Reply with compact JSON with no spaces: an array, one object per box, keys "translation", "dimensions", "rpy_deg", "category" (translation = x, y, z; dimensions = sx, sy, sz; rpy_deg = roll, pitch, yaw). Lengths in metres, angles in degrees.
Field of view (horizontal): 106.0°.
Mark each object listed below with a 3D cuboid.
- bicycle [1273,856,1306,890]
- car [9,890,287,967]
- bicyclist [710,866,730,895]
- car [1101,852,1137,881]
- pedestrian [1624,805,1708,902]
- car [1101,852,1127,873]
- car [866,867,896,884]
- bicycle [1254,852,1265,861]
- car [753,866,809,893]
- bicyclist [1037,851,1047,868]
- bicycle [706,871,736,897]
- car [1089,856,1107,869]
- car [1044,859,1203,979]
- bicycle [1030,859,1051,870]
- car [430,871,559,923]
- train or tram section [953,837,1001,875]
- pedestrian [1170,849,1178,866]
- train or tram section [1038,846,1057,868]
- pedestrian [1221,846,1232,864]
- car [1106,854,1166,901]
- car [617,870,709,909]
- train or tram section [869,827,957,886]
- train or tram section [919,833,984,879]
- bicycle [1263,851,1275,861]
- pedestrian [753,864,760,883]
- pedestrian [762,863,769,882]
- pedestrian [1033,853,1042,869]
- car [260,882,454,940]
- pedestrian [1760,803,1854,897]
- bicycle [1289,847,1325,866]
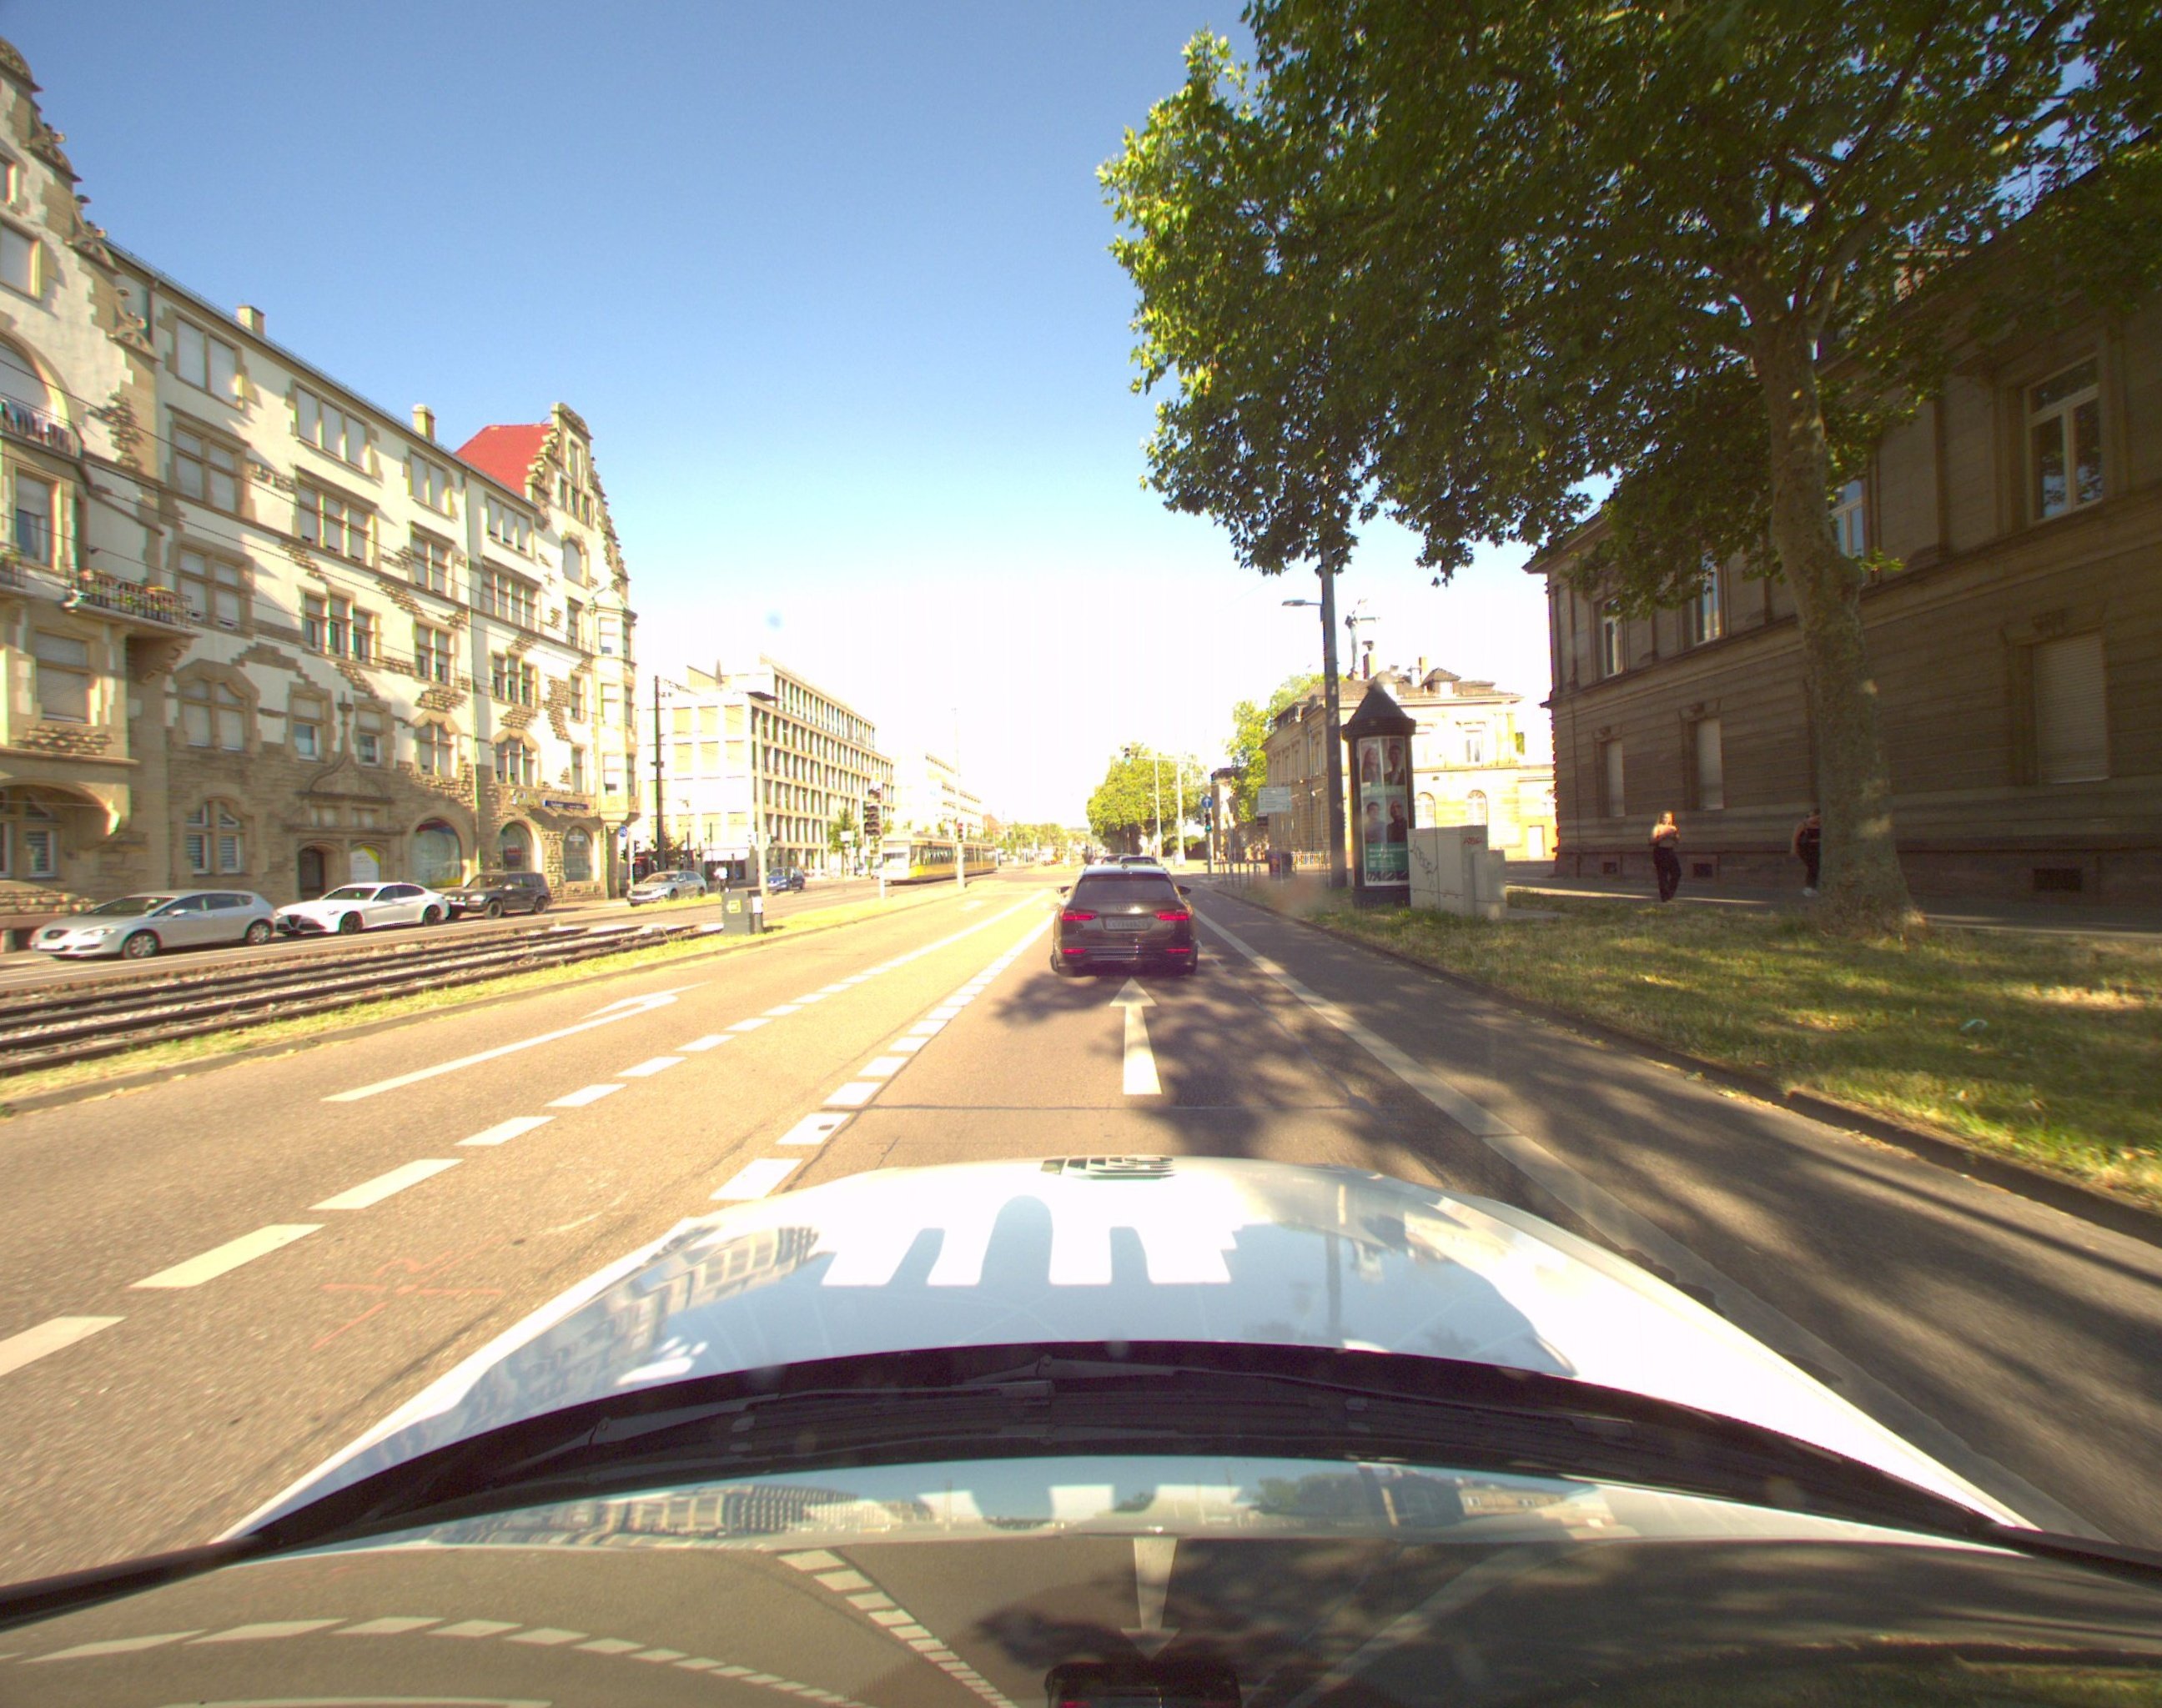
[{"translation":[6.780,0.595,26.553],"dimensions":[0.538,1.061,1.770],"rpy_deg":[-2,0,-2],"category":"bicycle"},{"translation":[-21.701,1.656,19.253],"dimensions":[1.704,1.431,4.222],"rpy_deg":[0,0,-1],"category":"car"},{"translation":[-20.167,1.476,45.529],"dimensions":[0.682,1.563,0.786],"rpy_deg":[-3,-1,3],"category":"bicyclist"},{"translation":[2.064,0.667,44.497],"dimensions":[1.895,1.486,4.147],"rpy_deg":[0,0,2],"category":"car"},{"translation":[10.831,-0.005,15.113],"dimensions":[0.766,1.709,1.043],"rpy_deg":[-3,-1,3],"category":"pedestrian"},{"translation":[2.503,0.646,62.046],"dimensions":[1.895,1.486,4.147],"rpy_deg":[0,0,2],"category":"car"},{"translation":[-19.257,2.084,78.475],"dimensions":[1.814,1.457,4.155],"rpy_deg":[-3,0,-1],"category":"car"},{"translation":[20.614,0.265,93.987],"dimensions":[0.525,1.047,2.354],"rpy_deg":[-2,0,-6],"category":"bicycle"},{"translation":[-17.687,1.474,48.220],"dimensions":[1.815,1.457,4.154],"rpy_deg":[-3,0,-2],"category":"car"},{"translation":[-4.105,0.577,86.099],"dimensions":[0.759,1.818,0.760],"rpy_deg":[-2,0,-18],"category":"bicyclist"},{"translation":[-20.159,1.684,45.666],"dimensions":[0.682,1.382,1.948],"rpy_deg":[-3,0,3],"category":"bicycle"},{"translation":[1.917,0.945,92.550],"dimensions":[1.897,1.486,4.142],"rpy_deg":[0,0,-1],"category":"car"},{"translation":[0.594,0.799,11.885],"dimensions":[1.895,1.422,4.147],"rpy_deg":[0,0,2],"category":"car"},{"translation":[-4.256,1.091,86.022],"dimensions":[2.011,1.108,0.760],"rpy_deg":[-2,0,-19],"category":"bicycle"},{"translation":[-21.625,1.531,30.257],"dimensions":[1.711,1.675,4.216],"rpy_deg":[0,0,0],"category":"car"},{"translation":[-10.307,0.211,82.037],"dimensions":[2.802,3.489,12.159],"rpy_deg":[-2,0,2],"category":"train or tram section"},{"translation":[9.531,0.333,83.397],"dimensions":[0.680,1.660,0.758],"rpy_deg":[-2,0,0],"category":"pedestrian"},{"translation":[-5.702,0.468,138.613],"dimensions":[2.600,3.451,11.131],"rpy_deg":[-2,0,0],"category":"train or tram section"},{"translation":[15.297,0.080,85.479],"dimensions":[0.975,1.865,0.827],"rpy_deg":[-2,0,3],"category":"pedestrian"},{"translation":[1.835,0.748,27.864],"dimensions":[1.895,1.486,4.147],"rpy_deg":[0,0,2],"category":"car"},{"translation":[-18.071,1.480,35.433],"dimensions":[1.816,1.457,4.535],"rpy_deg":[-3,0,-3],"category":"car"},{"translation":[-11.218,0.185,56.141],"dimensions":[2.802,3.489,13.209],"rpy_deg":[-2,0,2],"category":"train or tram section"},{"translation":[-10.765,0.176,69.345],"dimensions":[2.802,3.489,13.209],"rpy_deg":[-2,0,2],"category":"train or tram section"},{"translation":[21.674,0.251,93.944],"dimensions":[0.525,1.047,2.354],"rpy_deg":[-2,0,-6],"category":"bicycle"},{"translation":[-32.329,1.978,81.211],"dimensions":[0.475,1.843,0.438],"rpy_deg":[-2,-1,-36],"category":"pedestrian"},{"translation":[-31.704,1.856,81.764],"dimensions":[0.535,1.843,0.438],"rpy_deg":[-2,-1,-36],"category":"pedestrian"},{"translation":[-4.716,0.769,87.478],"dimensions":[0.742,1.741,0.659],"rpy_deg":[-2,0,-21],"category":"pedestrian"},{"translation":[-21.794,1.655,24.814],"dimensions":[1.711,1.423,4.656],"rpy_deg":[0,0,0],"category":"car"},{"translation":[13.090,-0.068,14.717],"dimensions":[0.766,1.606,0.987],"rpy_deg":[-3,-1,3],"category":"pedestrian"},{"translation":[15.343,0.174,55.331],"dimensions":[2.130,1.209,0.765],"rpy_deg":[-3,0,-1],"category":"bicycle"}]
